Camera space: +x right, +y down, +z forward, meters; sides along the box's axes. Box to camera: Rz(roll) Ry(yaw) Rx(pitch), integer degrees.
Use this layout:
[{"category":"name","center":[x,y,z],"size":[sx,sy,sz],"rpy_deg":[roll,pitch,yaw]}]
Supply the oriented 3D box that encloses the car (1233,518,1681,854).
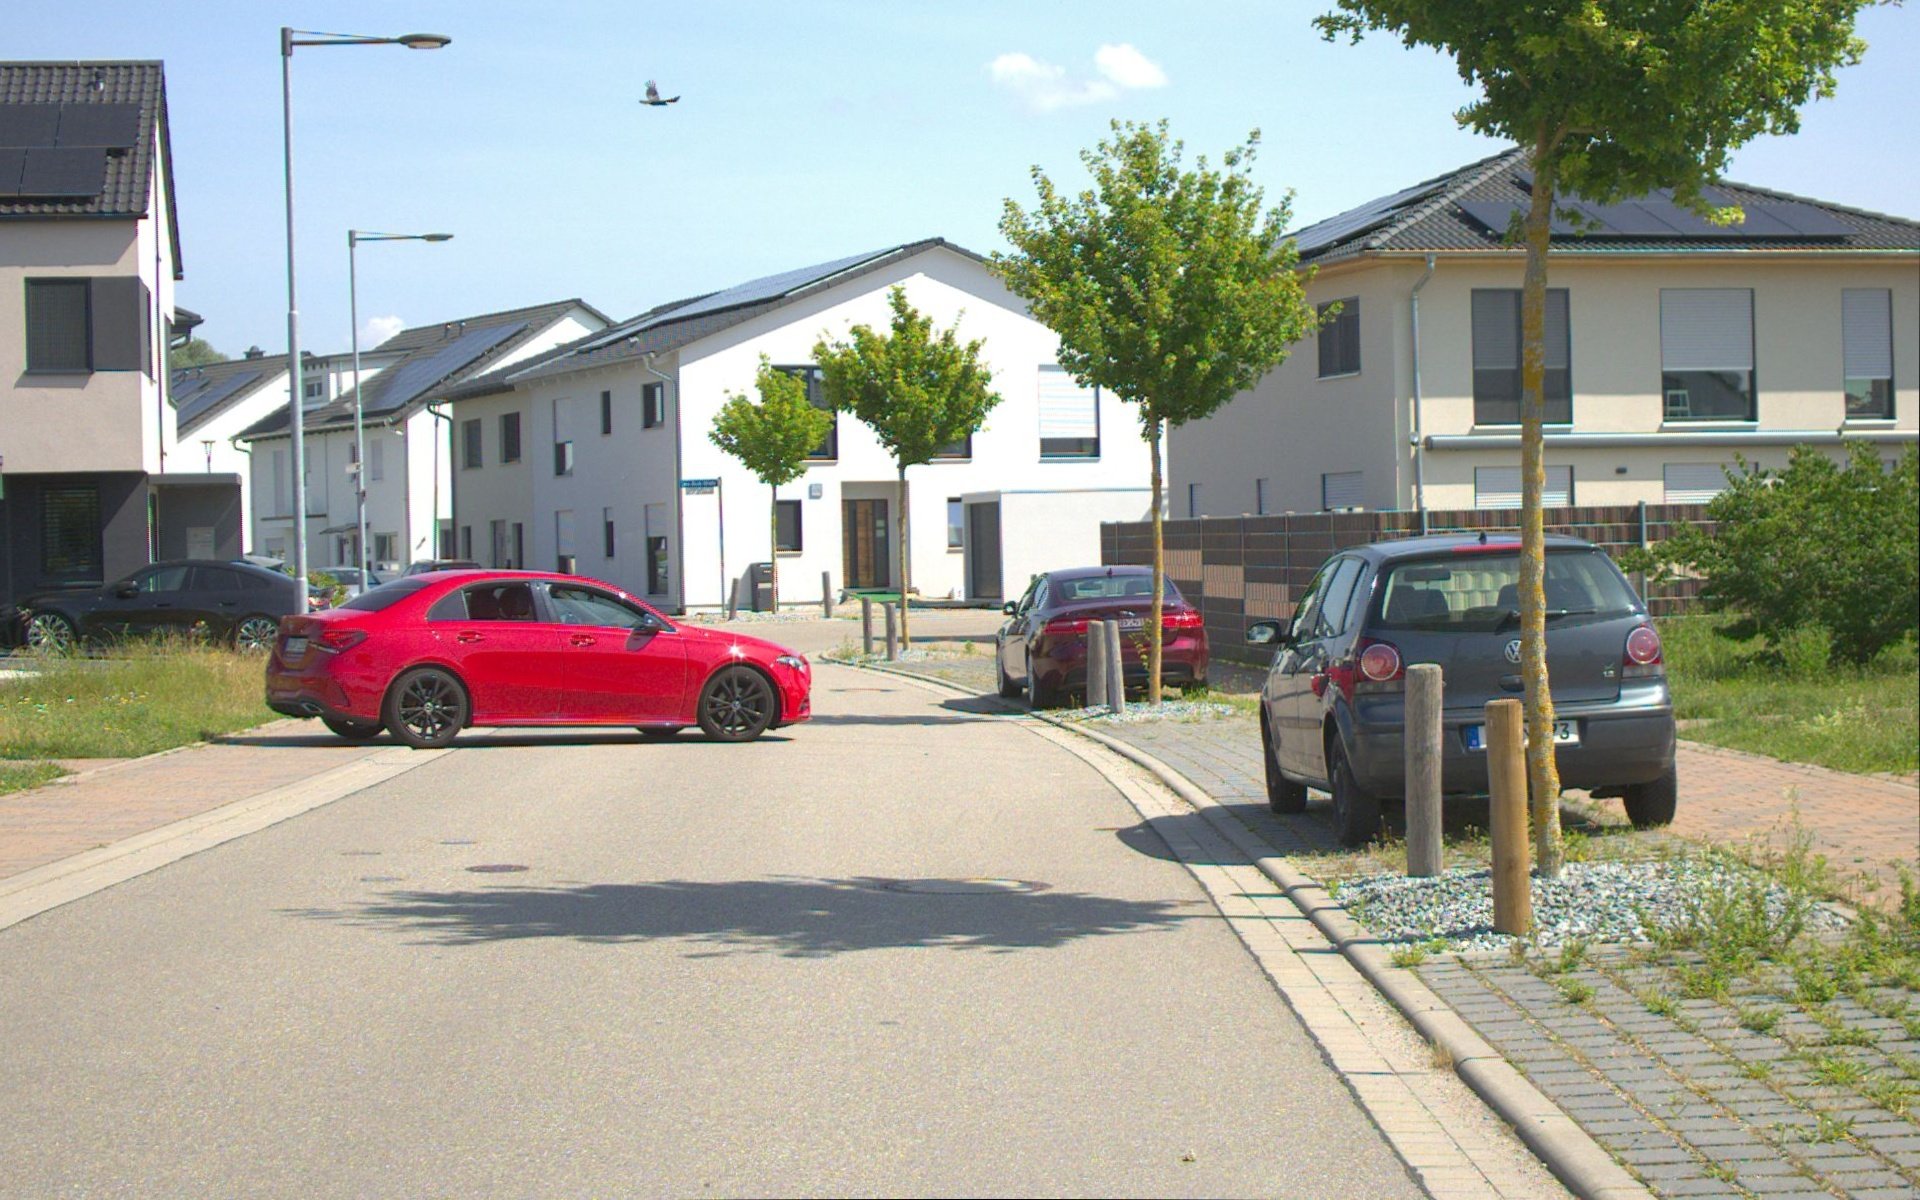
[{"category":"car","center":[2.441,0.368,17.693],"size":[1.598,1.470,3.675],"rpy_deg":[-3,1,-2]}]

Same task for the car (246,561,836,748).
[{"category":"car","center":[-3.432,0.397,28.381],"size":[4.504,1.433,1.768],"rpy_deg":[0,1,-29]}]

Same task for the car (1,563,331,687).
[{"category":"car","center":[-11.126,0.341,48.400],"size":[4.374,1.626,1.771],"rpy_deg":[1,0,-9]}]

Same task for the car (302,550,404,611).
[{"category":"car","center":[-15.530,-0.496,87.868],"size":[1.676,1.459,3.945],"rpy_deg":[-2,1,-23]}]

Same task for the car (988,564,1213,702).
[{"category":"car","center":[1.425,0.309,36.652],"size":[1.754,1.358,4.576],"rpy_deg":[0,1,-6]}]

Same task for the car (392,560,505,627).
[{"category":"car","center":[-11.731,-0.158,78.711],"size":[1.726,1.418,4.001],"rpy_deg":[-2,1,-20]}]
